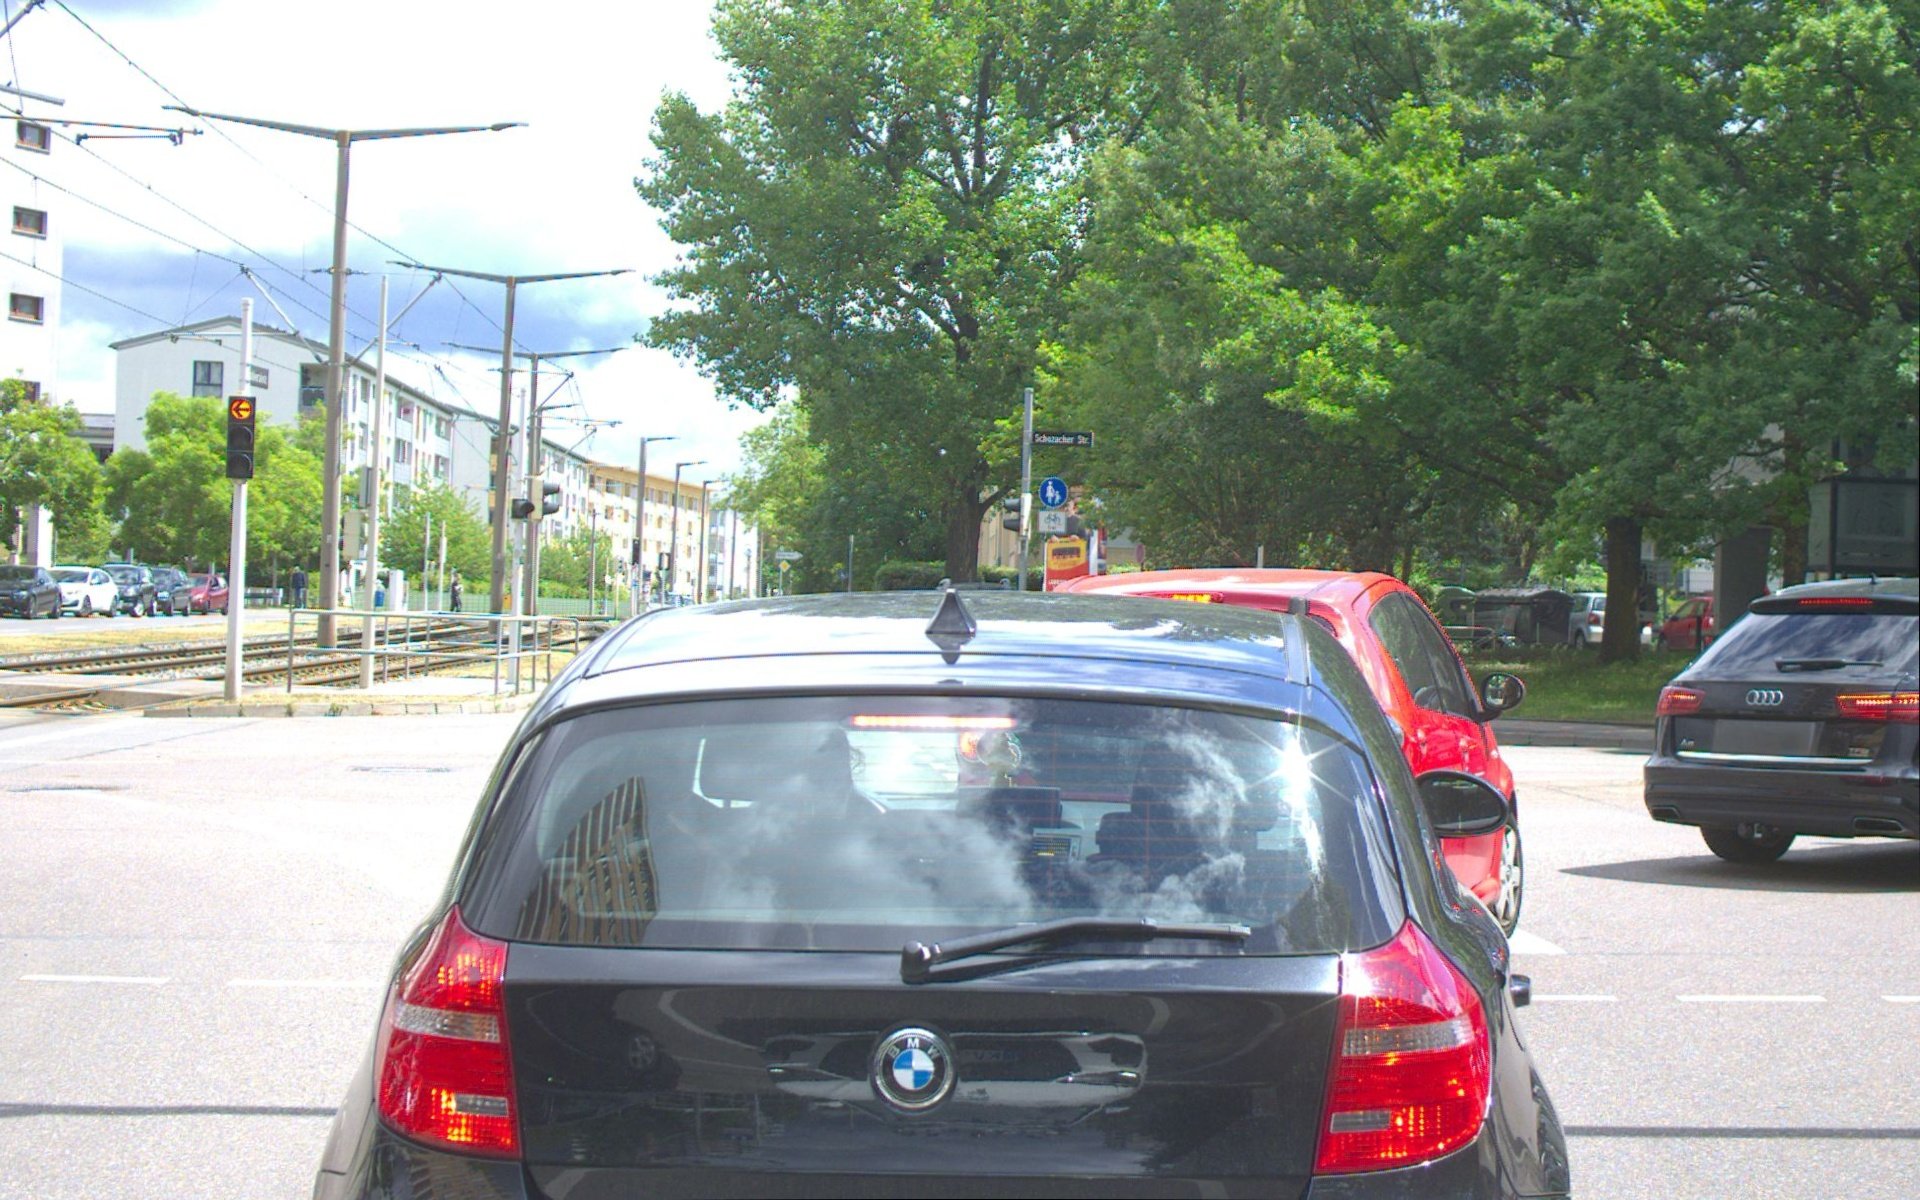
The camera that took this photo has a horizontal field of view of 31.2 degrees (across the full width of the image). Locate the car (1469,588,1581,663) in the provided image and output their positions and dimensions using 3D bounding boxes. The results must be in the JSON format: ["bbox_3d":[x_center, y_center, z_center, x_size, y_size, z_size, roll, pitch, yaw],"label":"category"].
[{"bbox_3d":[12.745,0.556,77.709,1.630,1.567,4.033,1,1,-3],"label":"car"}]

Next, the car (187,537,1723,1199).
[{"bbox_3d":[-0.029,0.652,5.962,1.752,1.482,4.000,1,1,0],"label":"car"}]

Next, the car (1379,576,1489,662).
[{"bbox_3d":[10.554,0.402,76.790,1.630,1.804,4.033,1,1,-3],"label":"car"}]

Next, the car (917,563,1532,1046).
[{"bbox_3d":[1.057,0.606,12.220,1.543,1.436,3.193,1,1,16],"label":"car"}]

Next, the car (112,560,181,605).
[{"bbox_3d":[-26.517,-0.576,112.162,1.760,1.390,4.001,1,1,-7],"label":"car"}]

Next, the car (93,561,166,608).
[{"bbox_3d":[-25.978,-0.508,107.596,1.760,1.390,4.001,1,1,-7],"label":"car"}]

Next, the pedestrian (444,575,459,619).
[{"bbox_3d":[-19.118,-0.113,129.220,0.478,1.631,0.454,1,1,-1],"label":"pedestrian"}]

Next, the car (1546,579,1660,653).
[{"bbox_3d":[14.743,0.348,78.985,1.630,1.589,4.001,1,1,-3],"label":"car"}]

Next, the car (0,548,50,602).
[{"bbox_3d":[-25.959,-0.700,93.589,1.760,1.390,4.001,1,1,-7],"label":"car"}]

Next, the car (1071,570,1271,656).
[{"bbox_3d":[4.641,0.286,75.722,3.986,1.817,1.779,1,1,-22],"label":"car"}]

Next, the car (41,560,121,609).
[{"bbox_3d":[-25.812,-0.471,101.016,1.760,1.390,4.001,1,1,-7],"label":"car"}]

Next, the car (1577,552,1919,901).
[{"bbox_3d":[5.346,0.564,17.481,4.508,1.548,1.999,0,0,-42],"label":"car"}]

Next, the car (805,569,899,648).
[{"bbox_3d":[-2.393,0.169,77.073,1.993,1.678,4.000,1,1,0],"label":"car"}]

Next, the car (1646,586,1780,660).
[{"bbox_3d":[17.344,0.507,79.369,1.730,1.589,4.001,1,1,-8],"label":"car"}]

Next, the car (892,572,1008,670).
[{"bbox_3d":[-0.188,0.373,61.665,1.993,1.678,4.000,1,0,0],"label":"car"}]

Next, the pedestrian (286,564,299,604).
[{"bbox_3d":[-27.416,-0.651,141.246,0.452,1.631,0.480,1,1,-5],"label":"pedestrian"}]

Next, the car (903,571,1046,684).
[{"bbox_3d":[0.209,0.421,54.216,2.152,1.678,4.000,1,0,0],"label":"car"}]
